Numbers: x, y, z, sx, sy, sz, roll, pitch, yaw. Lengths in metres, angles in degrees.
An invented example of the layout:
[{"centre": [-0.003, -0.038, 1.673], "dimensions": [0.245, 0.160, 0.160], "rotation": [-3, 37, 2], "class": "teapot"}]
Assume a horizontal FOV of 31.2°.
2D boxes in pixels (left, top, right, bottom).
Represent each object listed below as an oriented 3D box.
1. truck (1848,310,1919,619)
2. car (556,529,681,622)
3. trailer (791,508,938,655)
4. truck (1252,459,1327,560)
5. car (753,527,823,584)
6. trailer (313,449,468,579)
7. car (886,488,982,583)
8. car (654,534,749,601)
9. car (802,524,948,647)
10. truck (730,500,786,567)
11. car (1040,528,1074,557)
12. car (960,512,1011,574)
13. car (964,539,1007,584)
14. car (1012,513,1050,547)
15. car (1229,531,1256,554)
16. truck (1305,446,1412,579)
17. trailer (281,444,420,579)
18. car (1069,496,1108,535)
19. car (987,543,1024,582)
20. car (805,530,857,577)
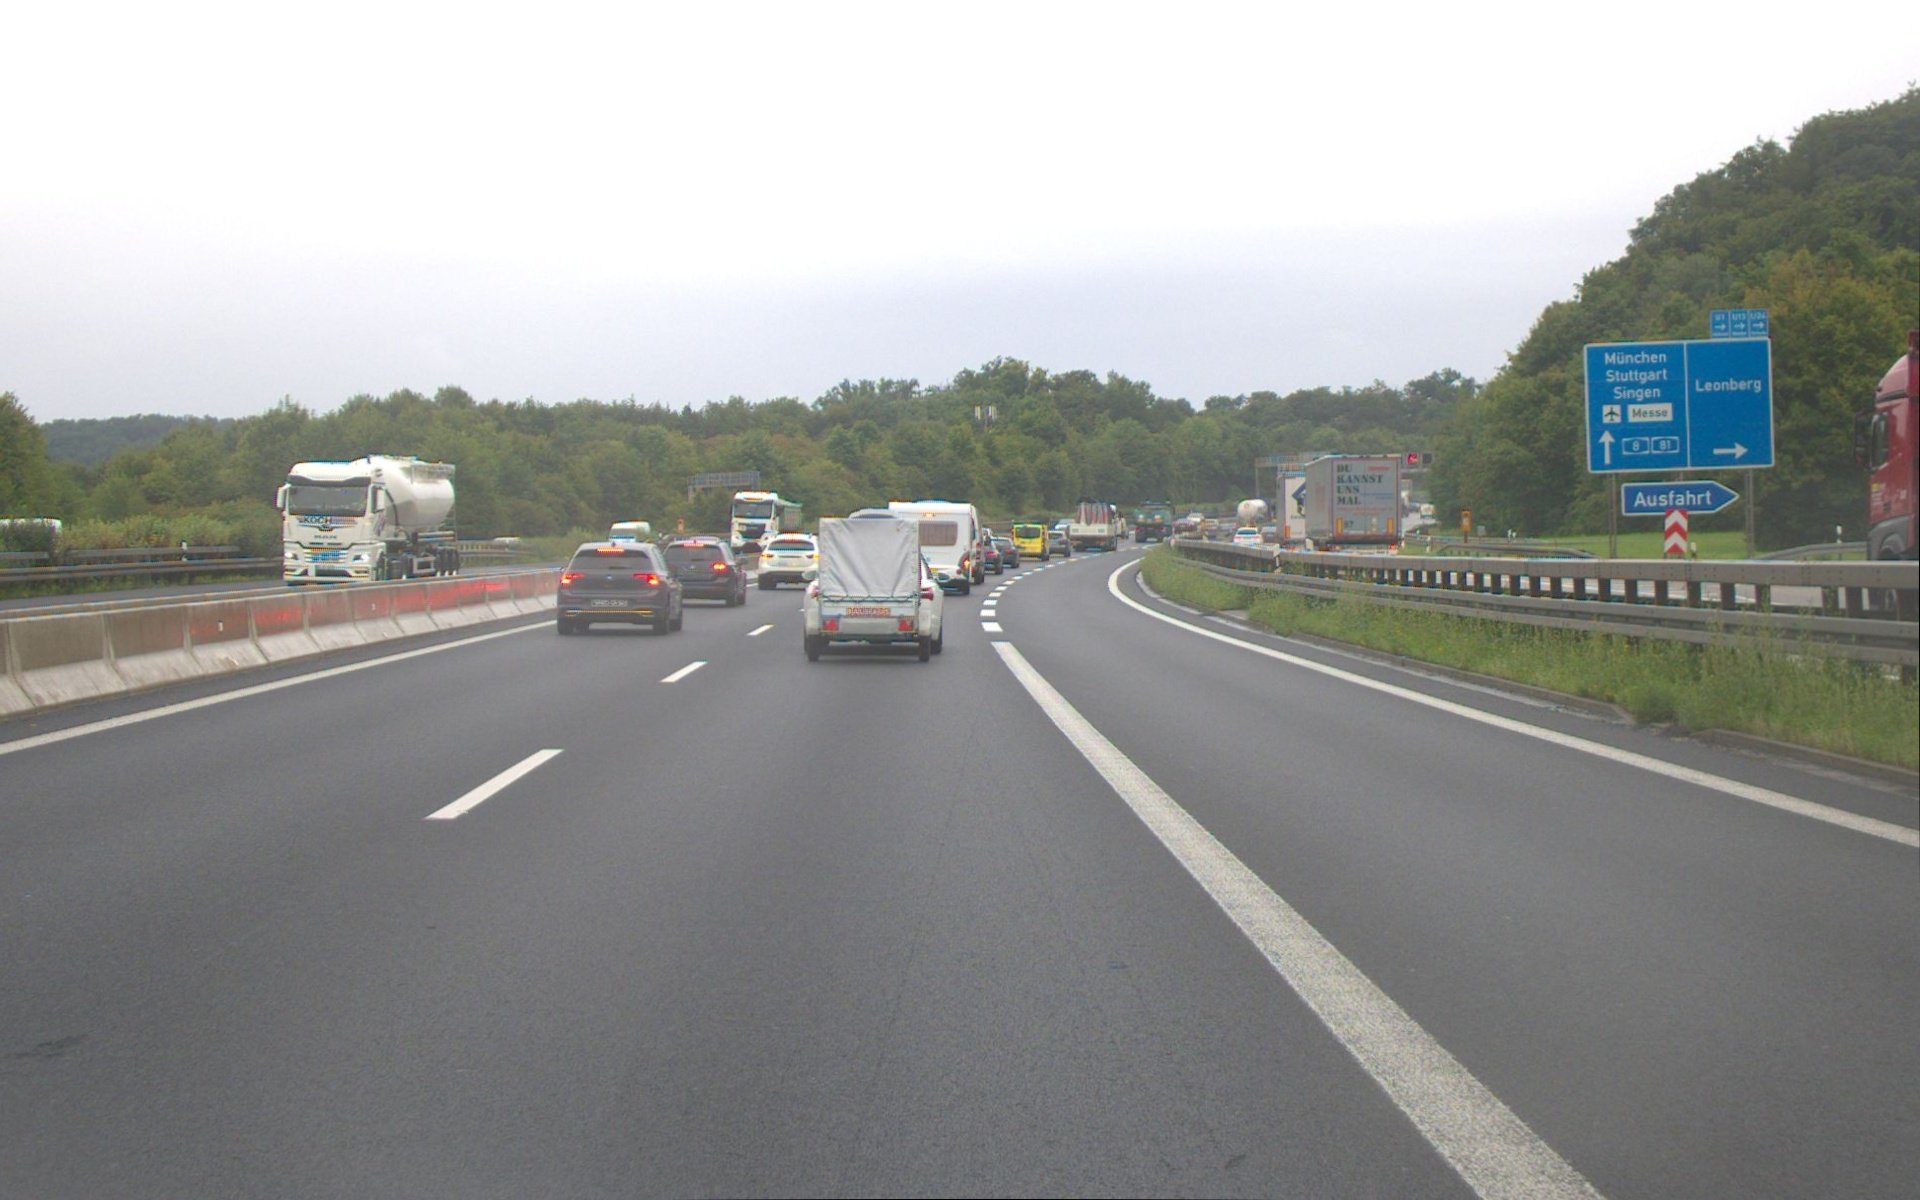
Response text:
[{"centre": [13.354, -1.697, 43.029], "dimensions": [2.616, 3.871, 6.392], "rotation": [0, 1, -2], "class": "truck"}, {"centre": [-5.445, -0.405, 55.206], "dimensions": [1.675, 1.451, 4.000], "rotation": [0, 1, -1], "class": "car"}, {"centre": [-1.179, -0.255, 44.078], "dimensions": [1.676, 1.806, 4.000], "rotation": [0, 1, 1], "class": "trailer"}, {"centre": [15.830, -4.284, 165.934], "dimensions": [3.216, 4.650, 13.031], "rotation": [0, 1, 4], "class": "truck"}, {"centre": [-5.034, -1.305, 101.259], "dimensions": [1.776, 1.634, 4.043], "rotation": [0, 1, 1], "class": "car"}, {"centre": [-16.996, -2.522, 103.327], "dimensions": [2.636, 3.723, 10.811], "rotation": [0, 1, 1], "class": "trailer"}, {"centre": [-0.691, -1.799, 96.106], "dimensions": [2.507, 2.576, 5.699], "rotation": [0, 1, 1], "class": "car"}, {"centre": [-5.707, -0.735, 76.204], "dimensions": [1.765, 1.451, 4.000], "rotation": [0, 1, 1], "class": "car"}, {"centre": [-1.133, -0.226, 47.625], "dimensions": [1.818, 1.610, 4.778], "rotation": [0, 1, 1], "class": "car"}, {"centre": [-11.526, -3.771, 196.417], "dimensions": [2.887, 3.736, 5.945], "rotation": [0, 1, -1], "class": "truck"}, {"centre": [5.768, -3.411, 204.272], "dimensions": [2.037, 1.677, 4.000], "rotation": [0, 1, 2], "class": "car"}, {"centre": [0.848, -1.908, 116.006], "dimensions": [1.676, 2.060, 4.000], "rotation": [0, 1, 0], "class": "car"}, {"centre": [1.061, -1.562, 140.229], "dimensions": [1.676, 1.806, 4.000], "rotation": [0, 1, 1], "class": "car"}, {"centre": [3.861, -3.795, 186.601], "dimensions": [1.676, 1.806, 3.999], "rotation": [0, 1, 7], "class": "car"}, {"centre": [18.369, -3.721, 223.340], "dimensions": [1.676, 1.451, 4.000], "rotation": [0, 1, 4], "class": "car"}, {"centre": [14.521, -3.132, 126.259], "dimensions": [3.216, 4.650, 13.031], "rotation": [0, 1, 4], "class": "truck"}, {"centre": [-17.125, -2.457, 97.025], "dimensions": [2.636, 3.703, 6.492], "rotation": [0, 1, 1], "class": "trailer"}, {"centre": [8.746, -5.742, 233.779], "dimensions": [2.516, 2.566, 5.311], "rotation": [0, 1, 4], "class": "car"}, {"centre": [2.121, -1.738, 158.970], "dimensions": [1.676, 1.806, 4.000], "rotation": [0, 1, 1], "class": "car"}, {"centre": [-4.605, -1.670, 123.265], "dimensions": [1.775, 1.634, 4.043], "rotation": [0, 1, -1], "class": "car"}]
